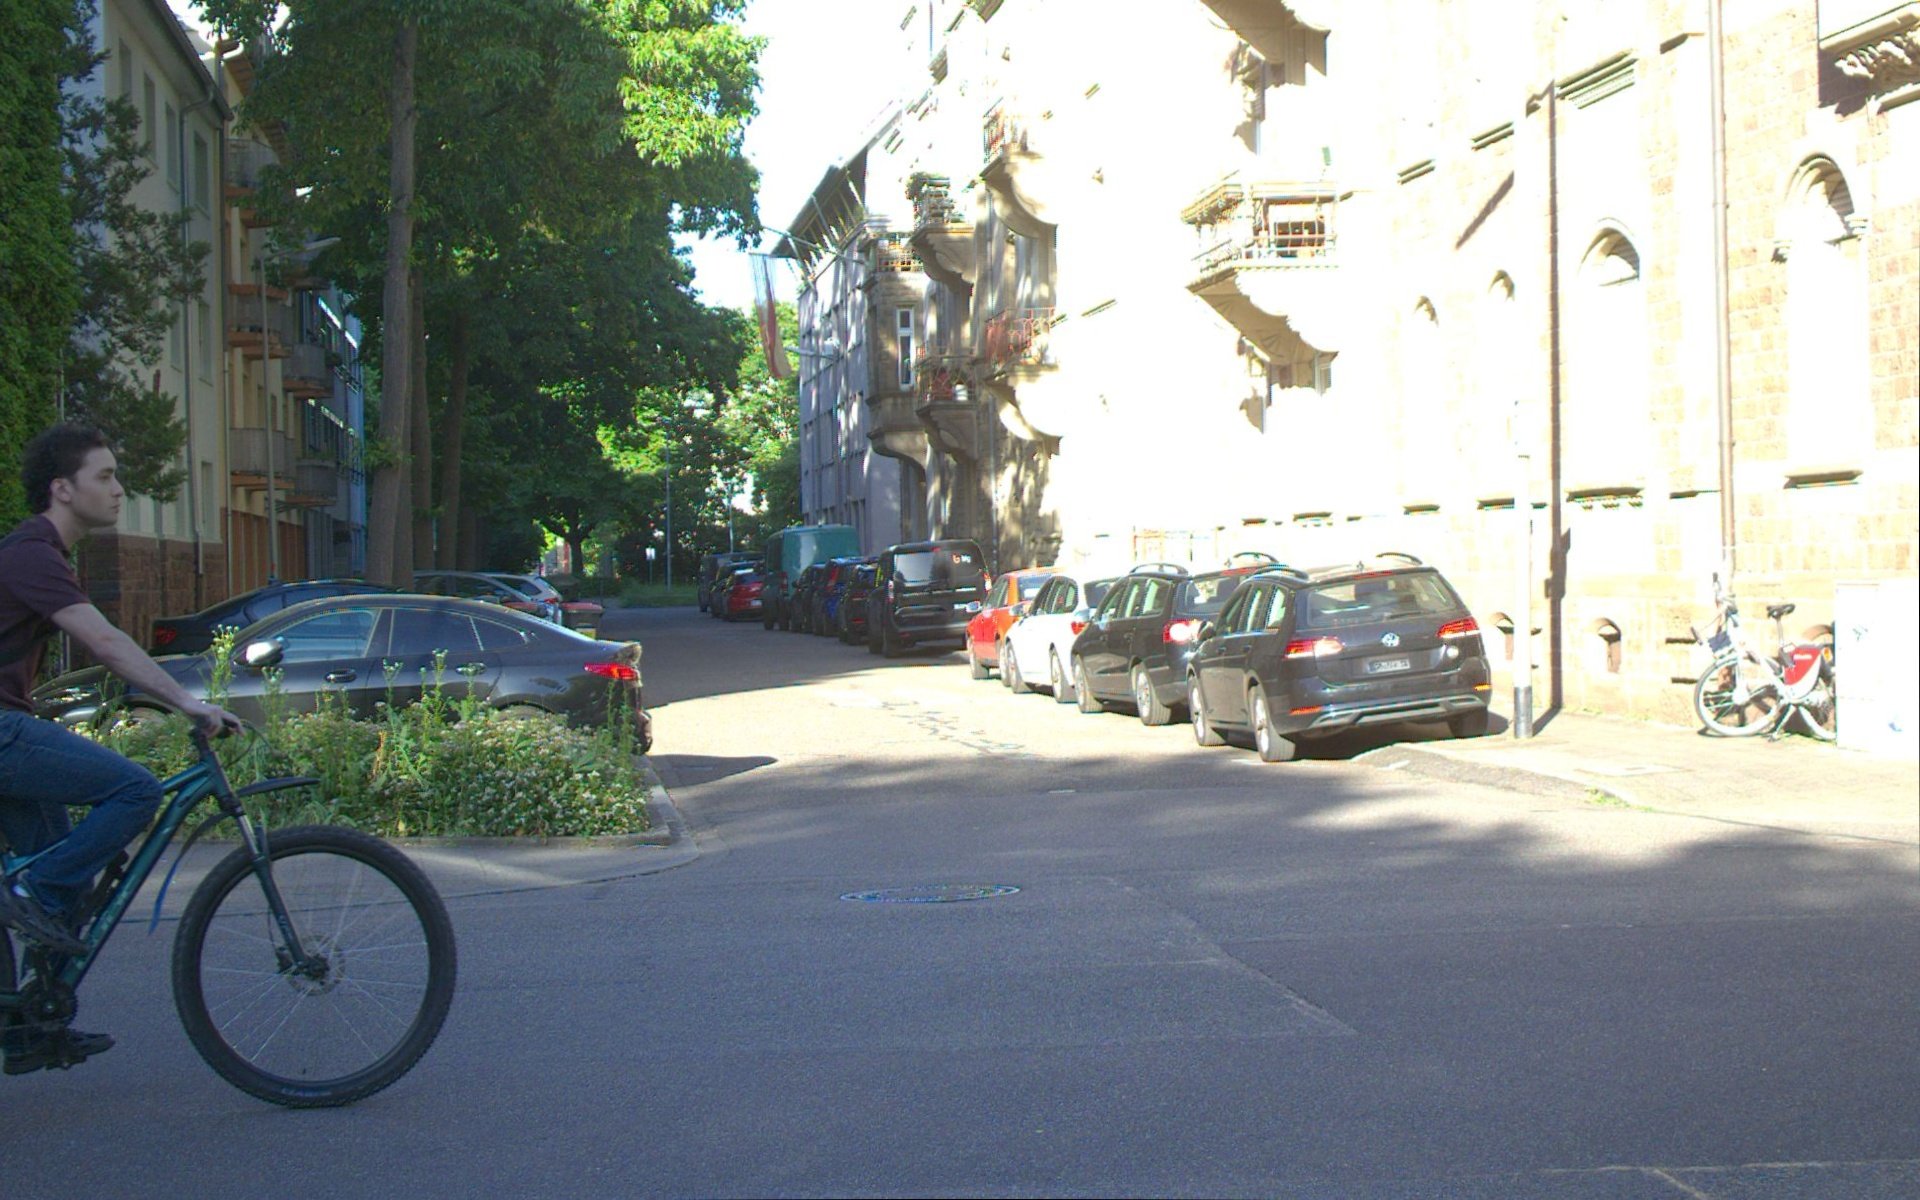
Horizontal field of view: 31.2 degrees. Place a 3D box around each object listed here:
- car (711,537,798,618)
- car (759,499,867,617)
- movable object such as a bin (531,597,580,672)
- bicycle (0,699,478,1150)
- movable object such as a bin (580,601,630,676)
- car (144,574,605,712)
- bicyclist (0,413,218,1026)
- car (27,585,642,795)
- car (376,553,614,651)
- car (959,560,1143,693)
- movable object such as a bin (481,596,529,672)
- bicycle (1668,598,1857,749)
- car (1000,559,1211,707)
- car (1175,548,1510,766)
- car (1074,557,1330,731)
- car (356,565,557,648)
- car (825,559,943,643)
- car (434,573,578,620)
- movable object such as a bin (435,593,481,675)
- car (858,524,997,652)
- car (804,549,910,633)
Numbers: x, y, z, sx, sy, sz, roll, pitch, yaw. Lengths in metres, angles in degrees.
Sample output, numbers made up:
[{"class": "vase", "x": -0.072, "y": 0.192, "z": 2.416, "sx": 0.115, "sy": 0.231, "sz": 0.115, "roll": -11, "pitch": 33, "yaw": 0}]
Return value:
[{"class": "car", "x": -5.873, "y": -0.640, "z": 97.914, "sx": 2.165, "sy": 2.229, "sz": 4.792, "roll": 0, "pitch": 0, "yaw": -7}, {"class": "car", "x": -3.488, "y": -0.982, "z": 80.923, "sx": 2.165, "sy": 2.681, "sz": 4.792, "roll": 0, "pitch": 0, "yaw": -7}, {"class": "movable object such as a bin", "x": -5.742, "y": 0.486, "z": 48.739, "sx": 0.629, "sy": 1.049, "sz": 0.568, "roll": 0, "pitch": 0, "yaw": -13}, {"class": "bicycle", "x": -2.242, "y": 0.821, "z": 8.851, "sx": 1.962, "sy": 1.069, "sz": 0.557, "roll": 0, "pitch": 3, "yaw": -10}, {"class": "movable object such as a bin", "x": -5.045, "y": 0.546, "z": 48.849, "sx": 0.629, "sy": 1.049, "sz": 0.568, "roll": 0, "pitch": 0, "yaw": -13}, {"class": "car", "x": -6.342, "y": 0.446, "z": 37.479, "sx": 4.833, "sy": 1.430, "sz": 1.710, "roll": 0, "pitch": 0, "yaw": -8}, {"class": "bicyclist", "x": -2.431, "y": 0.294, "z": 8.876, "sx": 0.968, "sy": 1.521, "sz": 0.721, "roll": 0, "pitch": 0, "yaw": -10}, {"class": "car", "x": -4.508, "y": 0.617, "z": 25.117, "sx": 4.242, "sy": 1.430, "sz": 2.000, "roll": 0, "pitch": 0, "yaw": -8}, {"class": "car", "x": -7.690, "y": 0.019, "z": 56.696, "sx": 3.800, "sy": 1.570, "sz": 1.710, "roll": 0, "pitch": 0, "yaw": -10}, {"class": "car", "x": 1.091, "y": 0.300, "z": 43.212, "sx": 1.737, "sy": 1.576, "sz": 4.001, "roll": 0, "pitch": 0, "yaw": -7}, {"class": "movable object such as a bin", "x": -6.428, "y": 0.477, "z": 48.561, "sx": 0.629, "sy": 1.049, "sz": 0.568, "roll": 0, "pitch": 0, "yaw": -13}, {"class": "bicycle", "x": 5.534, "y": 0.488, "z": 23.789, "sx": 0.514, "sy": 0.994, "sz": 1.576, "roll": 0, "pitch": 0, "yaw": -19}, {"class": "car", "x": 1.576, "y": 0.336, "z": 38.693, "sx": 1.737, "sy": 1.576, "sz": 4.001, "roll": 0, "pitch": 0, "yaw": -7}, {"class": "car", "x": 2.924, "y": 0.396, "z": 27.088, "sx": 1.737, "sy": 1.576, "sz": 4.001, "roll": 0, "pitch": 0, "yaw": -7}, {"class": "car", "x": 2.278, "y": 0.379, "z": 33.325, "sx": 1.737, "sy": 1.576, "sz": 4.001, "roll": 0, "pitch": 0, "yaw": -7}, {"class": "car", "x": -9.732, "y": 0.111, "z": 66.489, "sx": 3.800, "sy": 1.570, "sz": 1.710, "roll": 0, "pitch": 0, "yaw": -9}, {"class": "car", "x": -1.450, "y": 0.006, "z": 64.015, "sx": 1.802, "sy": 1.509, "sz": 4.001, "roll": 0, "pitch": 0, "yaw": -7}, {"class": "car", "x": -12.240, "y": -0.105, "z": 92.503, "sx": 3.800, "sy": 1.236, "sz": 1.710, "roll": 0, "pitch": 0, "yaw": -9}, {"class": "movable object such as a bin", "x": -7.085, "y": 0.475, "z": 48.478, "sx": 0.598, "sy": 1.149, "sz": 0.487, "roll": 0, "pitch": 0, "yaw": -13}, {"class": "car", "x": -0.565, "y": -0.206, "z": 55.755, "sx": 1.802, "sy": 1.997, "sz": 4.001, "roll": 0, "pitch": 0, "yaw": -7}, {"class": "car", "x": -2.153, "y": -0.204, "z": 70.789, "sx": 1.802, "sy": 1.673, "sz": 4.001, "roll": 0, "pitch": 0, "yaw": -7}]
